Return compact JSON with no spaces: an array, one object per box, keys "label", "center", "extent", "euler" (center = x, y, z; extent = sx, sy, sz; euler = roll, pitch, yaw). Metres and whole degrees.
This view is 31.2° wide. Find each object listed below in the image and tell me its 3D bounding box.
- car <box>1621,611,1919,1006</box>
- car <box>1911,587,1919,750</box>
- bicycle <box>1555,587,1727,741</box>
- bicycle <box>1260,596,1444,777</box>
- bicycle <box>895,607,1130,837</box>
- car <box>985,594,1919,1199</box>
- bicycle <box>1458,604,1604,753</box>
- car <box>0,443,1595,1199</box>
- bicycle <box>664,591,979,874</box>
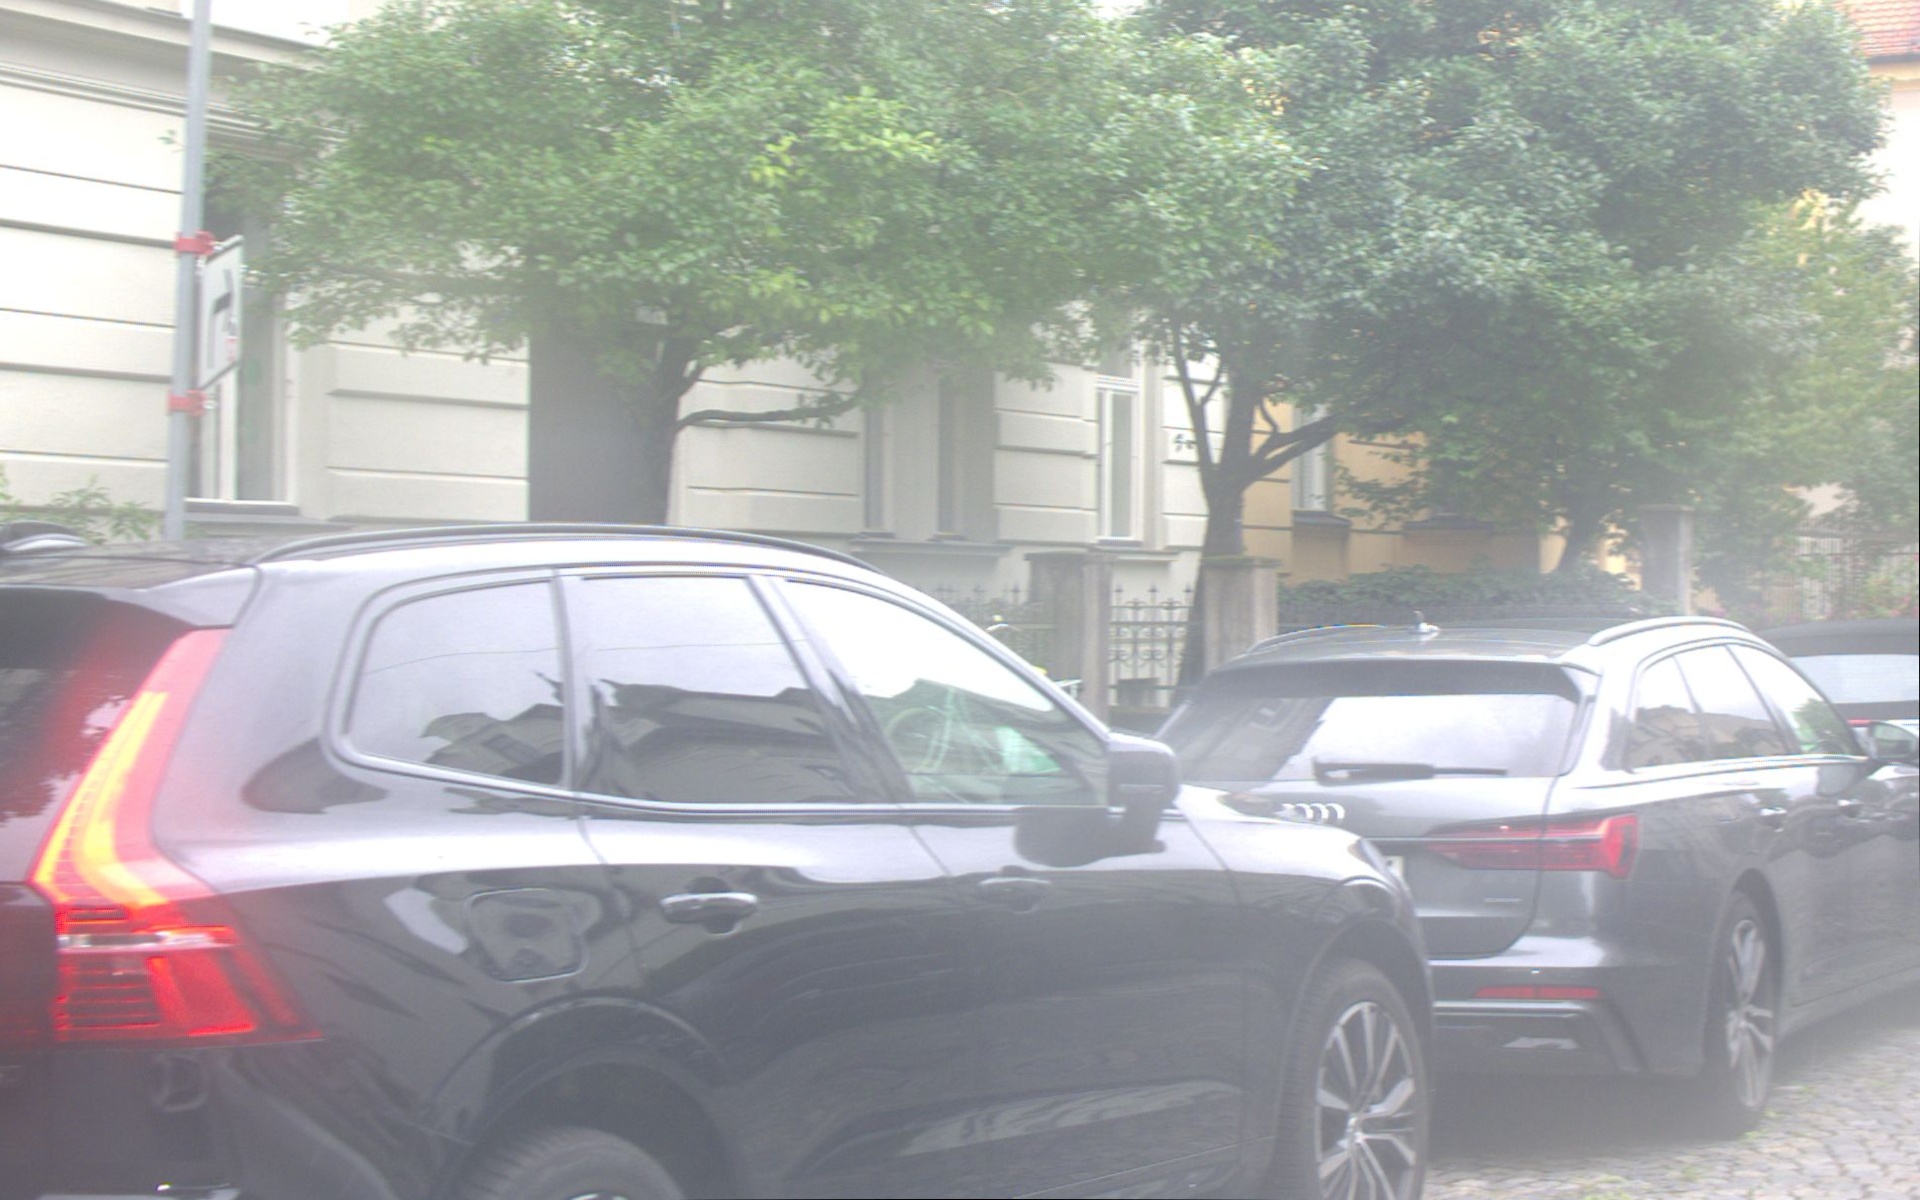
[{"label":"car","center":[4.344,0.818,15.216],"extent":[1.706,1.511,3.721],"euler":[-2,0,28]},{"label":"car","center":[6.774,0.656,19.219],"extent":[1.729,1.535,4.329],"euler":[-4,-2,30]},{"label":"bicycle","center":[5.226,0.478,26.314],"extent":[0.419,1.139,1.760],"euler":[2,1,42]},{"label":"bicycle","center":[2.547,0.534,22.190],"extent":[0.372,1.098,1.830],"euler":[1,1,34]},{"label":"bicycle","center":[0.299,0.611,18.076],"extent":[0.363,1.129,1.884],"euler":[2,1,29]},{"label":"car","center":[2.077,0.774,11.152],"extent":[1.807,1.499,5.170],"euler":[-2,0,27]},{"label":"bicycle","center":[4.138,0.550,24.825],"extent":[0.419,1.024,1.762],"euler":[2,1,30]},{"label":"car","center":[-0.594,0.697,6.595],"extent":[1.941,1.646,5.045],"euler":[-4,-2,30]},{"label":"bicycle","center":[-0.621,0.587,16.246],"extent":[0.501,1.244,1.976],"euler":[2,1,29]}]
